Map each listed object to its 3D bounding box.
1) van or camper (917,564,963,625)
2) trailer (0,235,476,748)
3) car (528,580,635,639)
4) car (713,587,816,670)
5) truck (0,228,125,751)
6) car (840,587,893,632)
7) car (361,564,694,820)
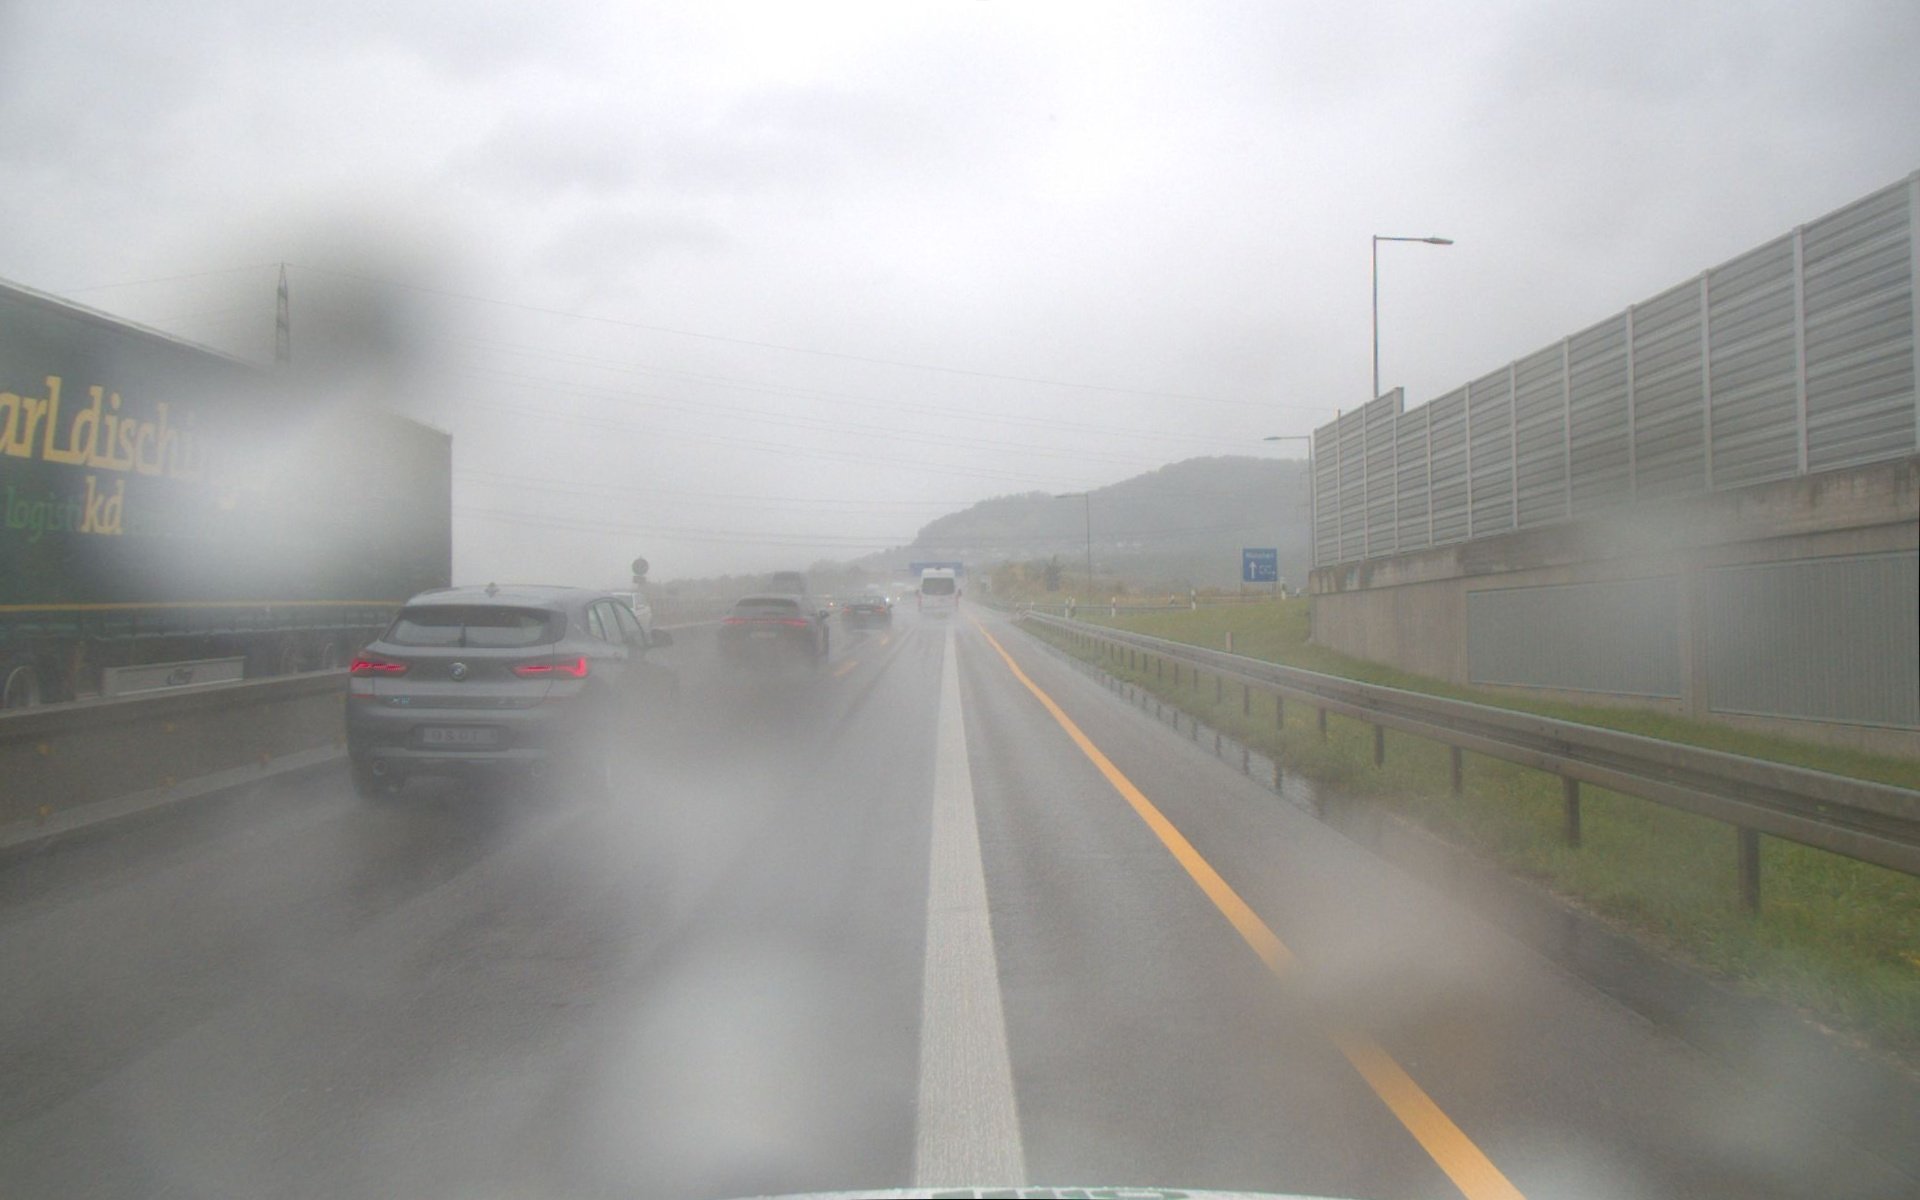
[{"bbox_3d":[-1.005,-0.228,80.446,1.957,2.826,4.045,1,-1,-4],"label":"van or camper"},{"bbox_3d":[-9.516,-0.993,21.393,2.528,4.535,13.551,1,0,0],"label":"trailer"},{"bbox_3d":[-10.280,0.237,45.274,1.692,1.463,5.437,1,0,0],"label":"car"},{"bbox_3d":[-3.797,0.572,32.668,1.808,1.517,4.257,1,-1,-4],"label":"car"},{"bbox_3d":[-9.477,-0.954,13.051,2.555,4.465,6.289,1,0,-1],"label":"truck"},{"bbox_3d":[-3.458,0.318,60.709,1.808,1.517,4.258,-2,0,-4],"label":"car"},{"bbox_3d":[-3.169,0.645,13.076,1.667,1.626,4.840,1,-1,-4],"label":"car"}]
